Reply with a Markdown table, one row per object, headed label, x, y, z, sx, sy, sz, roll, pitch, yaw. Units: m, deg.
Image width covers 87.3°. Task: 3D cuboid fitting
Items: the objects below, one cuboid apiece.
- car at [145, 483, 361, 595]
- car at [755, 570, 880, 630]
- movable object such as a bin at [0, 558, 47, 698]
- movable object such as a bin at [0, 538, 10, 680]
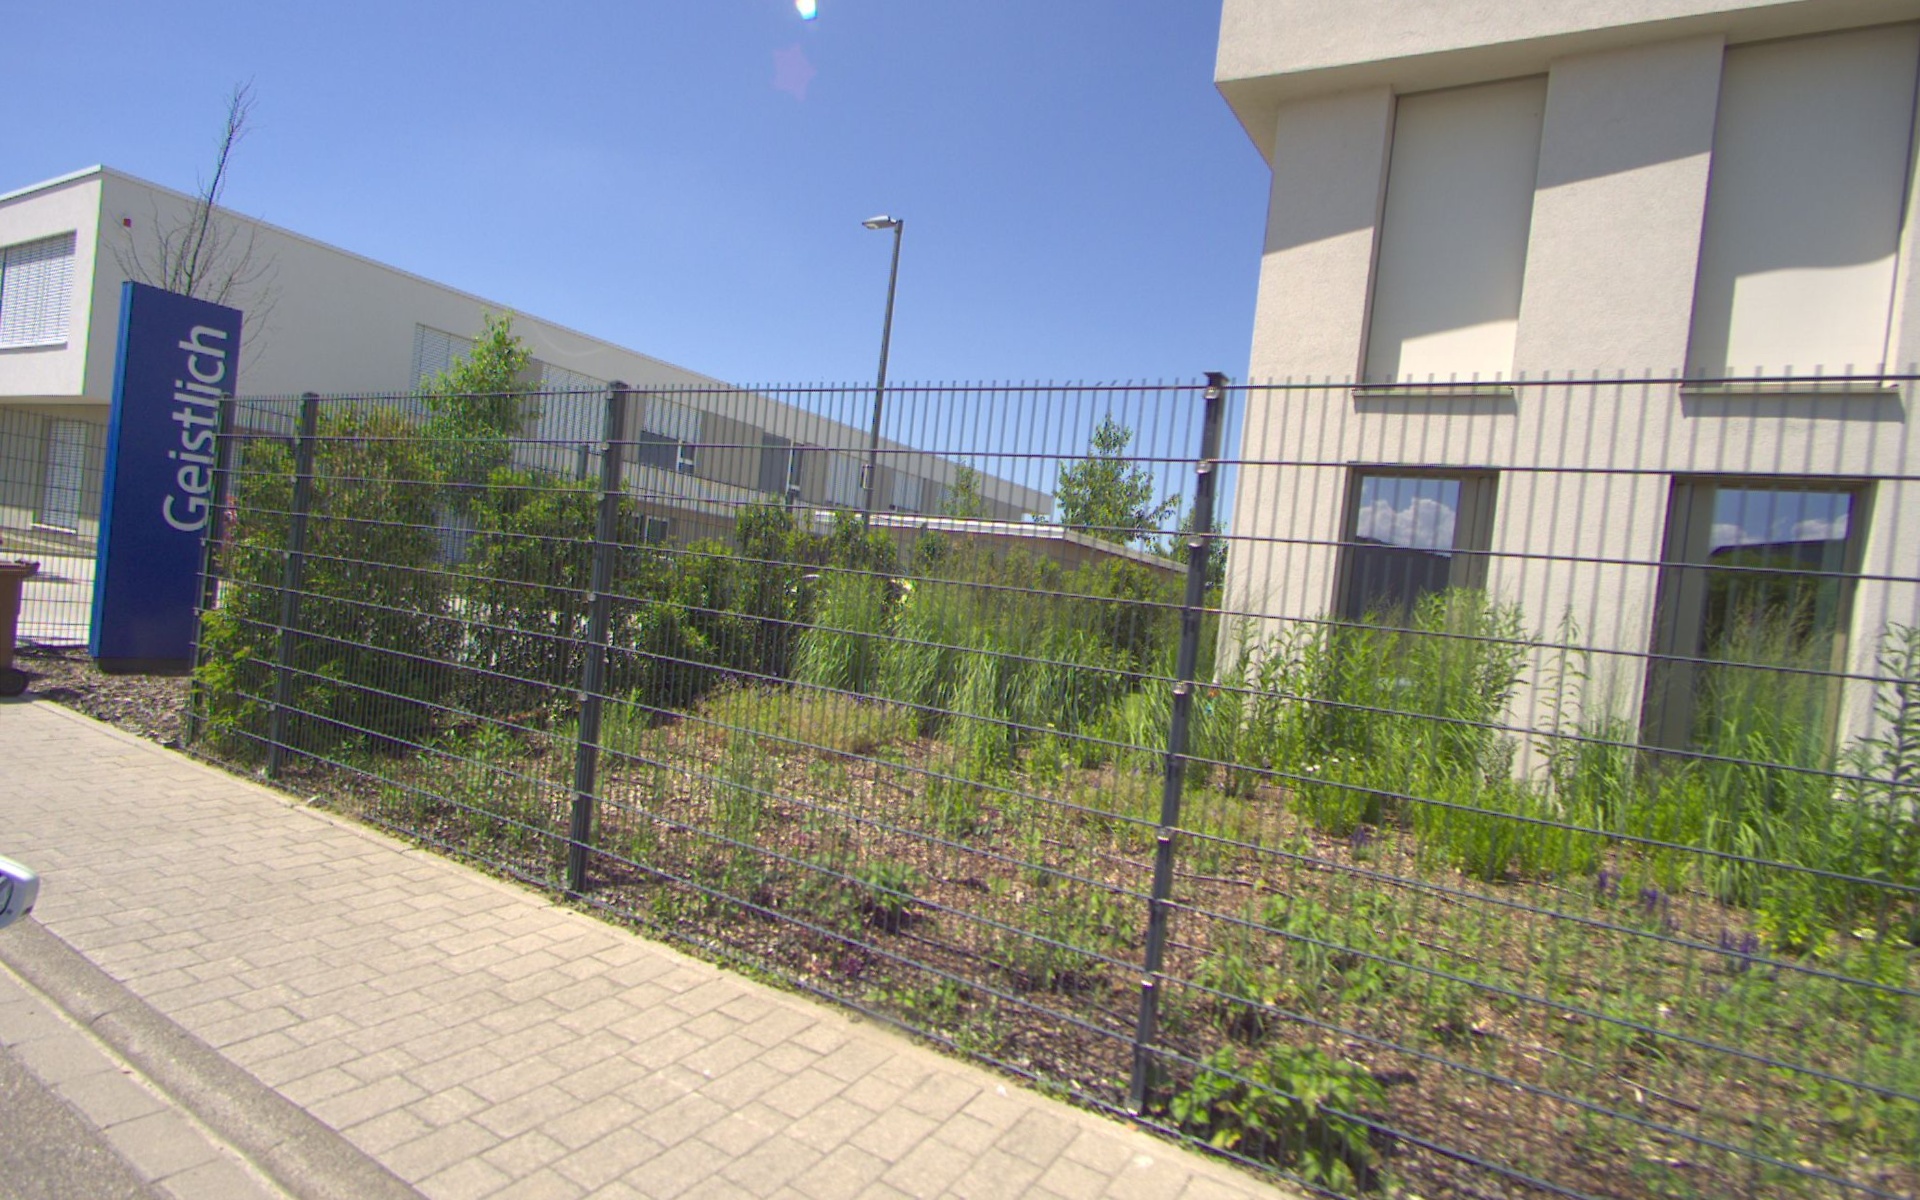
| label | x | y | z | sx | sy | sz | roll | pitch | yaw |
| --- | --- | --- | --- | --- | --- | --- | --- | --- | --- |
| car | -13.554 | -1.171 | 19.251 | 4.007 | 1.577 | 1.671 | 8 | 1 | 28 |
| car | -4.853 | -0.005 | 34.254 | 3.871 | 1.450 | 1.671 | 8 | 1 | 29 |
| movable object such as a bin | -6.807 | 0.180 | 6.980 | 0.545 | 0.937 | 0.524 | 6 | 2 | 31 |
| movable object such as a bin | -7.654 | 0.028 | 7.422 | 0.687 | 1.062 | 0.748 | 6 | 2 | 31 |
